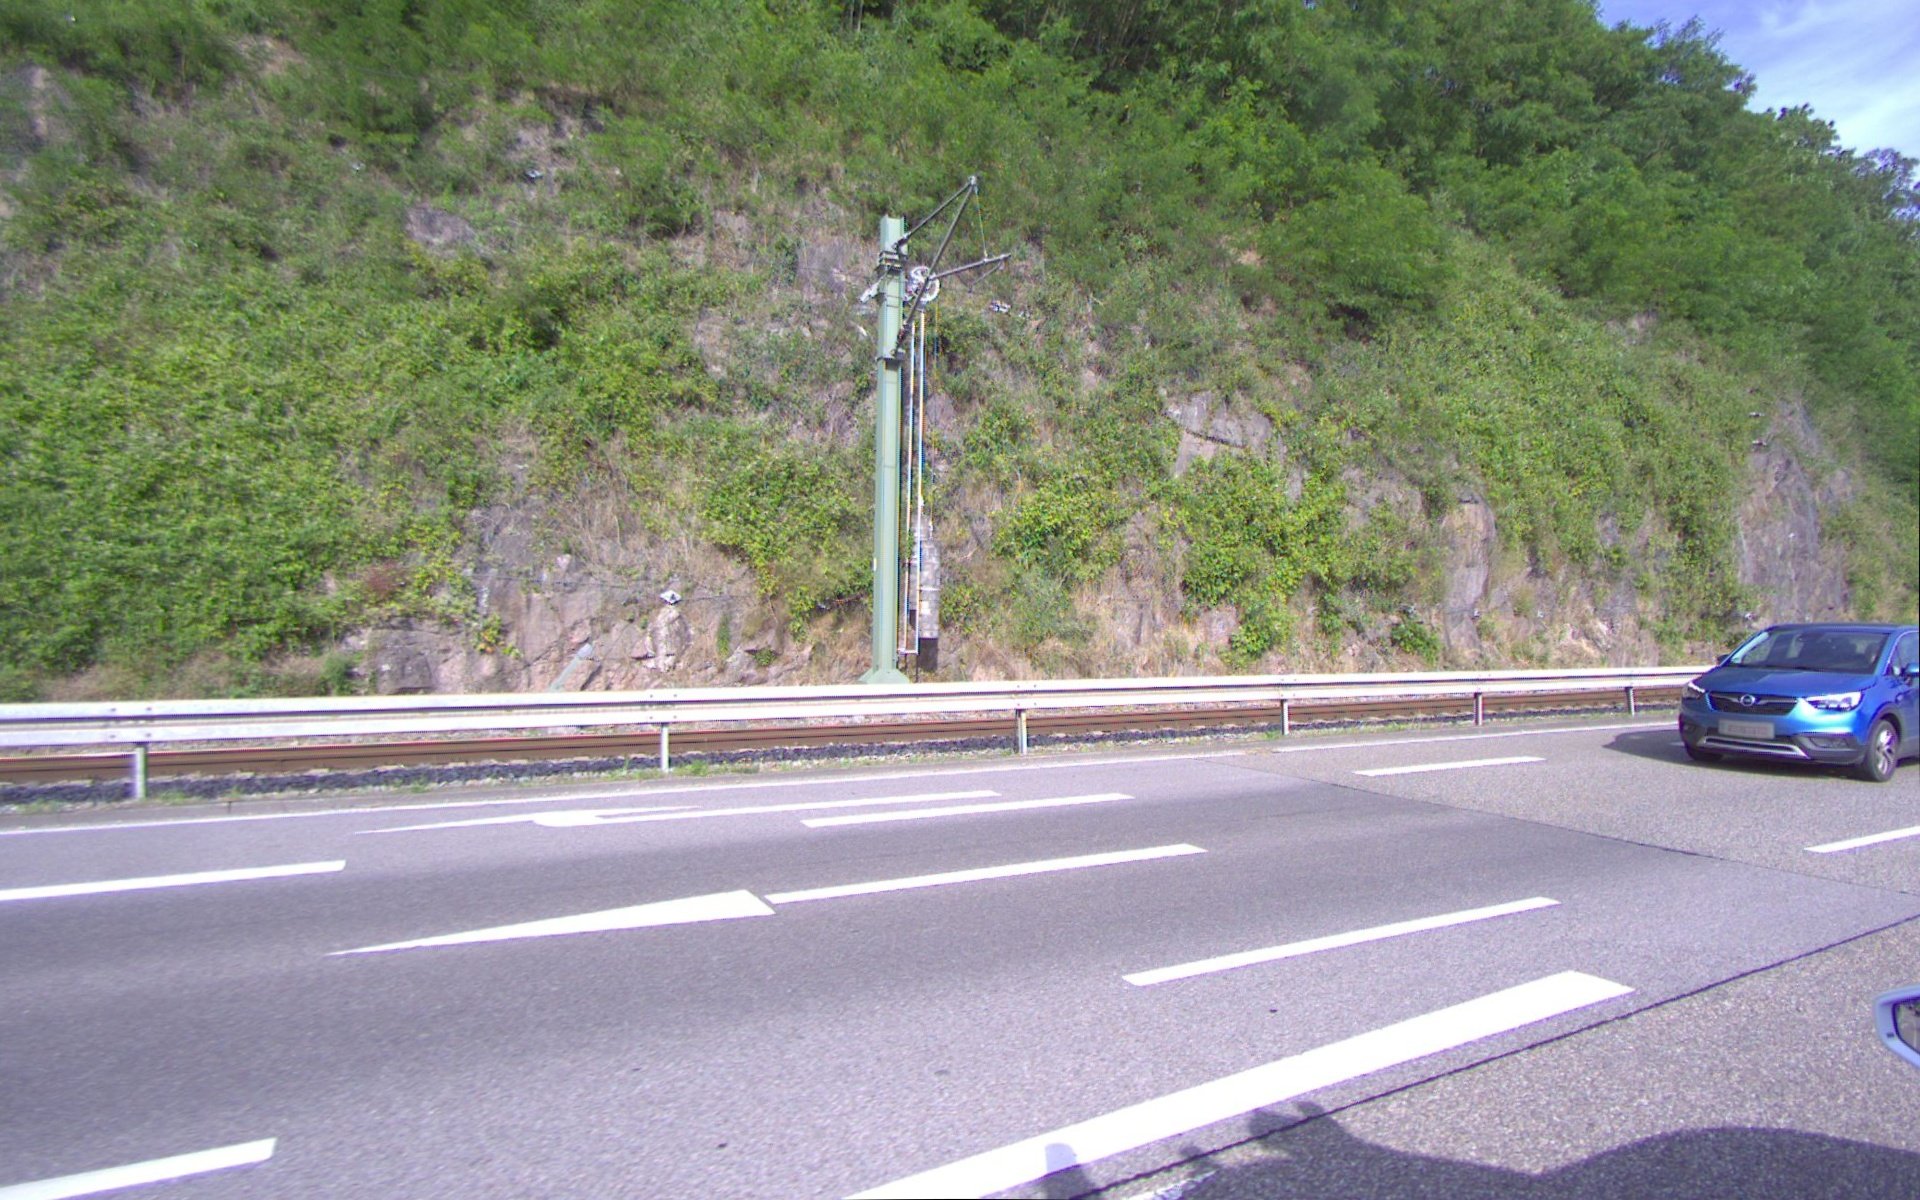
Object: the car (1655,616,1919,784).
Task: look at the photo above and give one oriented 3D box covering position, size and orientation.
[{"bbox_3d":[9.862,1.015,11.367,4.086,1.591,1.711,2,-1,-30],"label":"car"}]
